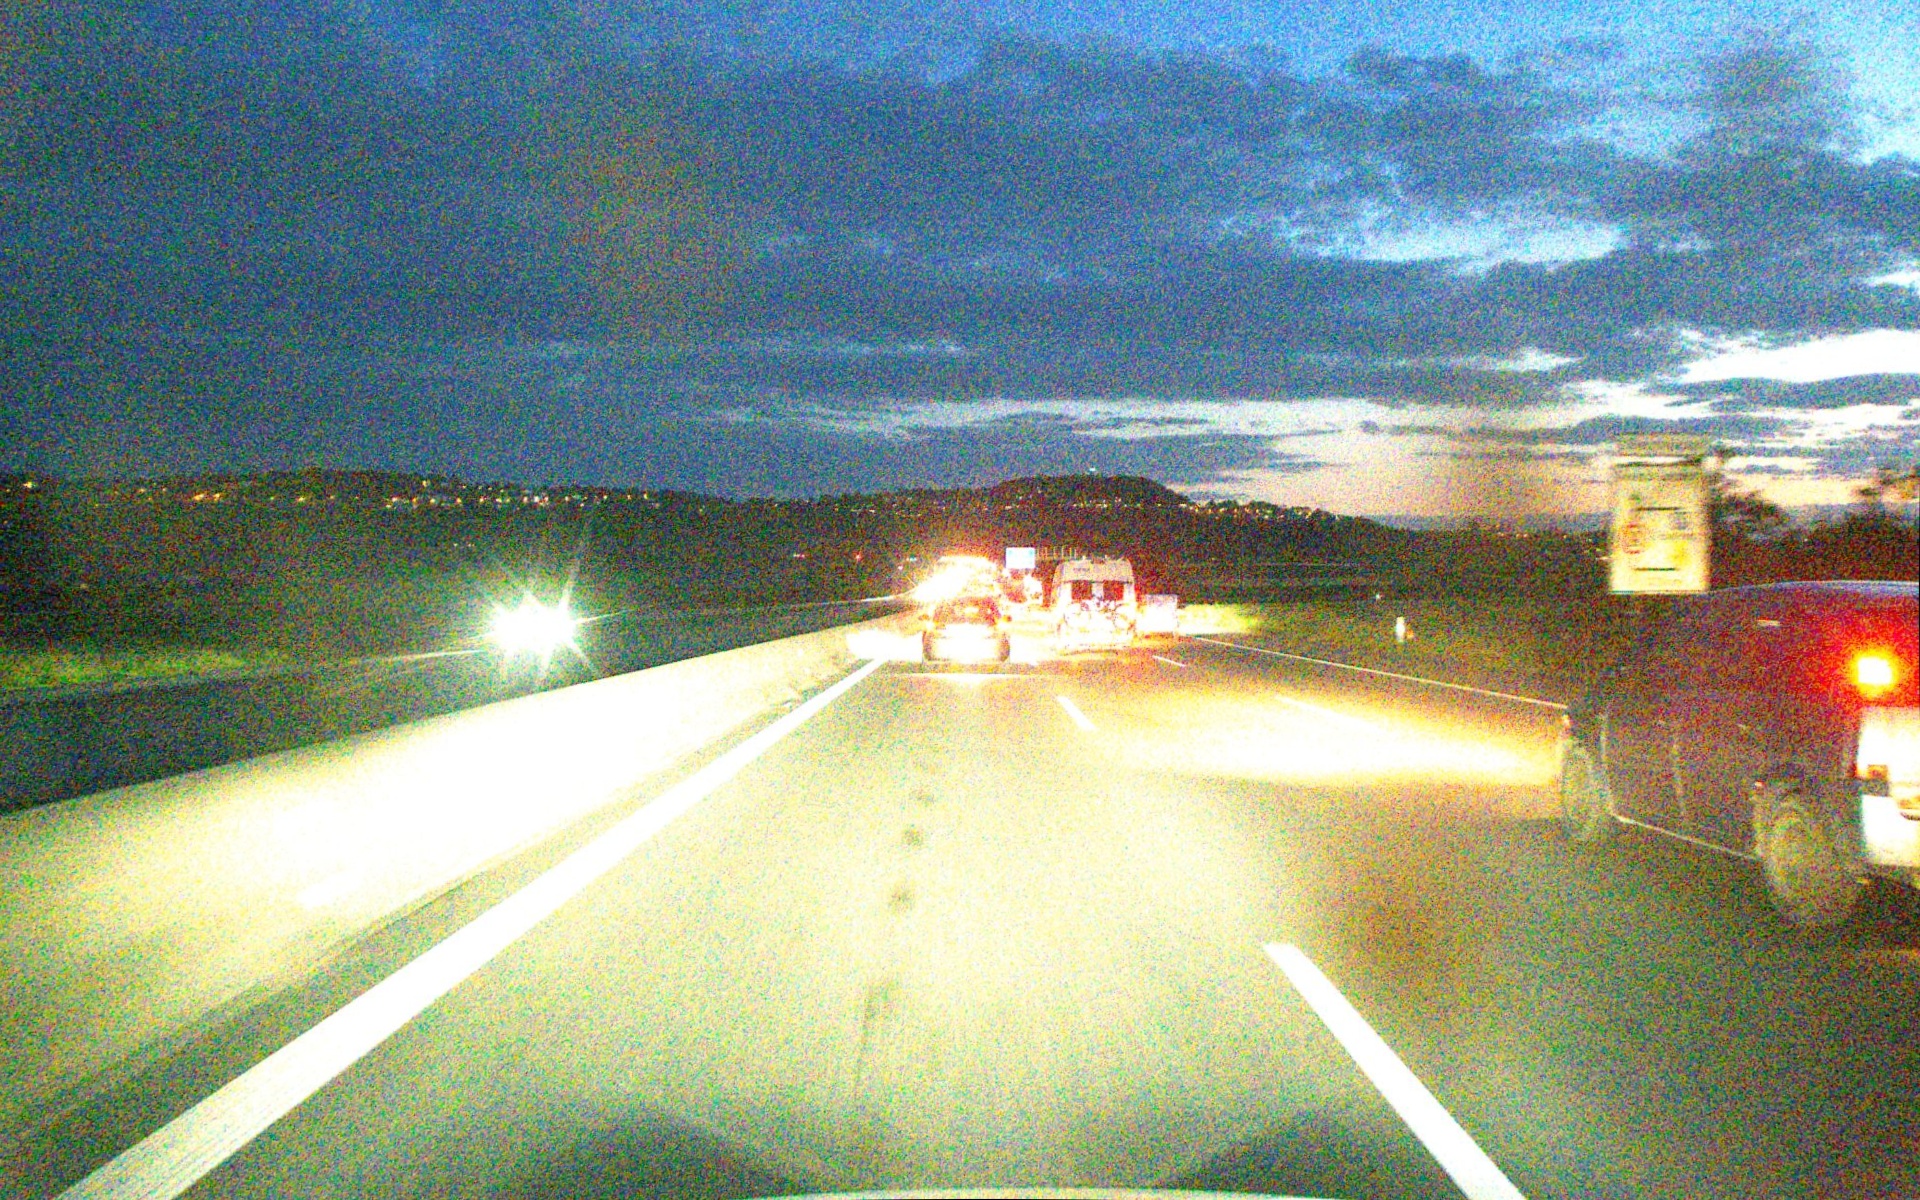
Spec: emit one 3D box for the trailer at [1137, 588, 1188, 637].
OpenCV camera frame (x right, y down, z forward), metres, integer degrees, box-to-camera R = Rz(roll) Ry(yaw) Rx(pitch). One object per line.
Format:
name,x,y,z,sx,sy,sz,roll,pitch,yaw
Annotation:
trailer,7.259,0.424,59.493,1.533,1.723,2.821,0,0,1

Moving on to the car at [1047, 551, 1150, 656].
car,3.594,0.044,43.969,2.303,2.579,5.702,-1,1,1

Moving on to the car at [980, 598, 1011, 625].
car,2.040,0.660,95.997,1.709,1.465,4.368,-1,1,1

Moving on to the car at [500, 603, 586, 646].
car,-15.476,0.874,61.642,1.953,1.444,4.982,-3,0,-1

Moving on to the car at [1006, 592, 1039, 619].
car,4.537,0.388,121.220,2.303,1.947,4.723,-1,0,1

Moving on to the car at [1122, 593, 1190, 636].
car,7.439,0.526,63.129,2.118,1.591,4.723,0,0,1

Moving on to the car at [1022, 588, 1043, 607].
car,8.525,-0.281,193.556,2.303,2.112,4.723,-1,1,1

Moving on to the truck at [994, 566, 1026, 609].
truck,4.740,-1.158,157.896,2.724,4.024,7.992,-1,0,-1

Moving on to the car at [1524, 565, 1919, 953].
car,4.707,0.659,9.177,1.612,1.624,4.509,0,0,0

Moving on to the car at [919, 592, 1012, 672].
car,0.132,0.602,33.509,1.757,1.494,3.773,1,1,1
